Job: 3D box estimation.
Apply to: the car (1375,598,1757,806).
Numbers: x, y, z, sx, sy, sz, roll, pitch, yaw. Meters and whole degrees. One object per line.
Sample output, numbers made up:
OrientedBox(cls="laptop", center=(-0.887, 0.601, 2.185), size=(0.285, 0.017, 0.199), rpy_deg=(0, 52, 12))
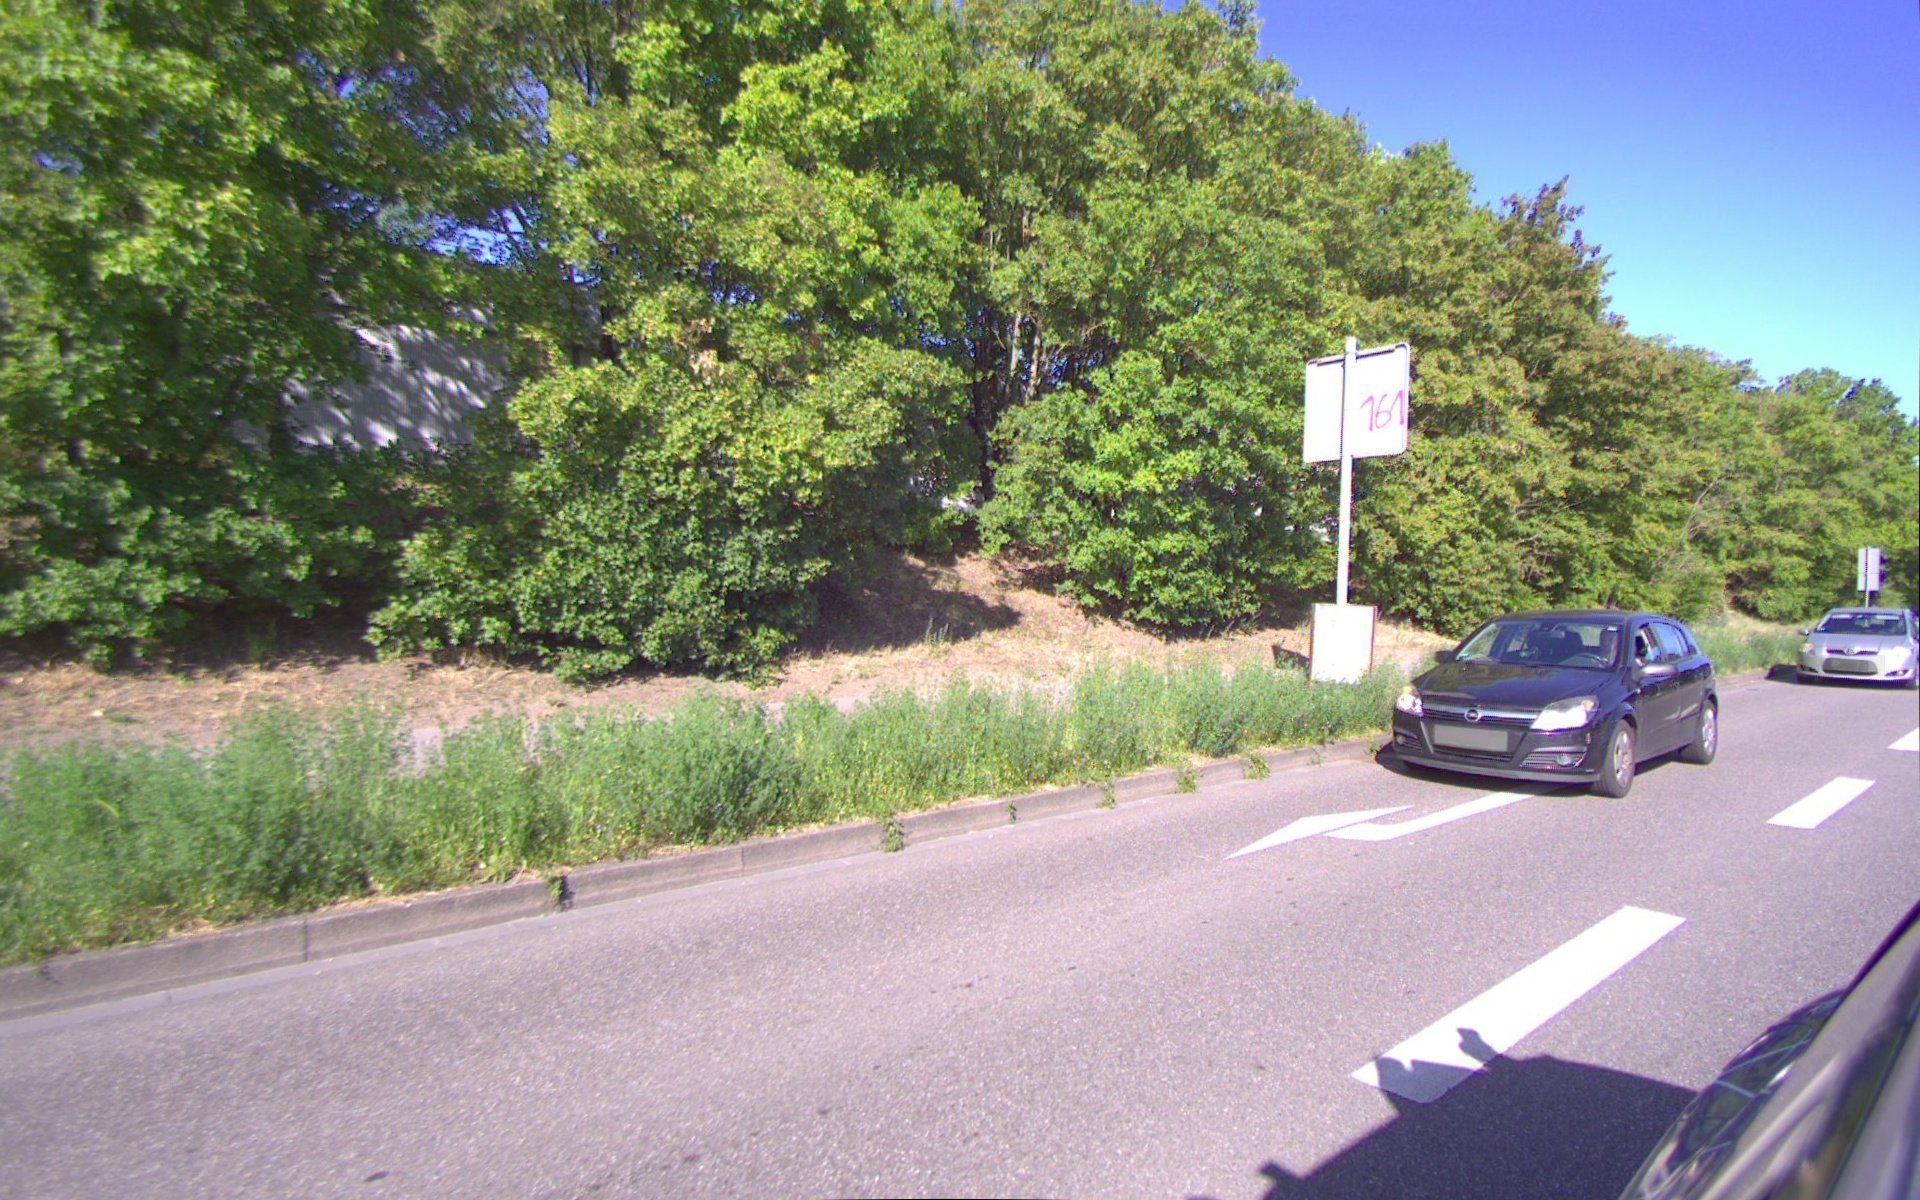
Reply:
OrientedBox(cls="car", center=(5.653, 0.713, 9.211), size=(4.295, 1.460, 1.737), rpy_deg=(0, 0, -41))

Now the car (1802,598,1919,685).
OrientedBox(cls="car", center=(18.166, 0.743, 19.940), size=(4.036, 1.556, 1.786), rpy_deg=(0, 0, -41))
